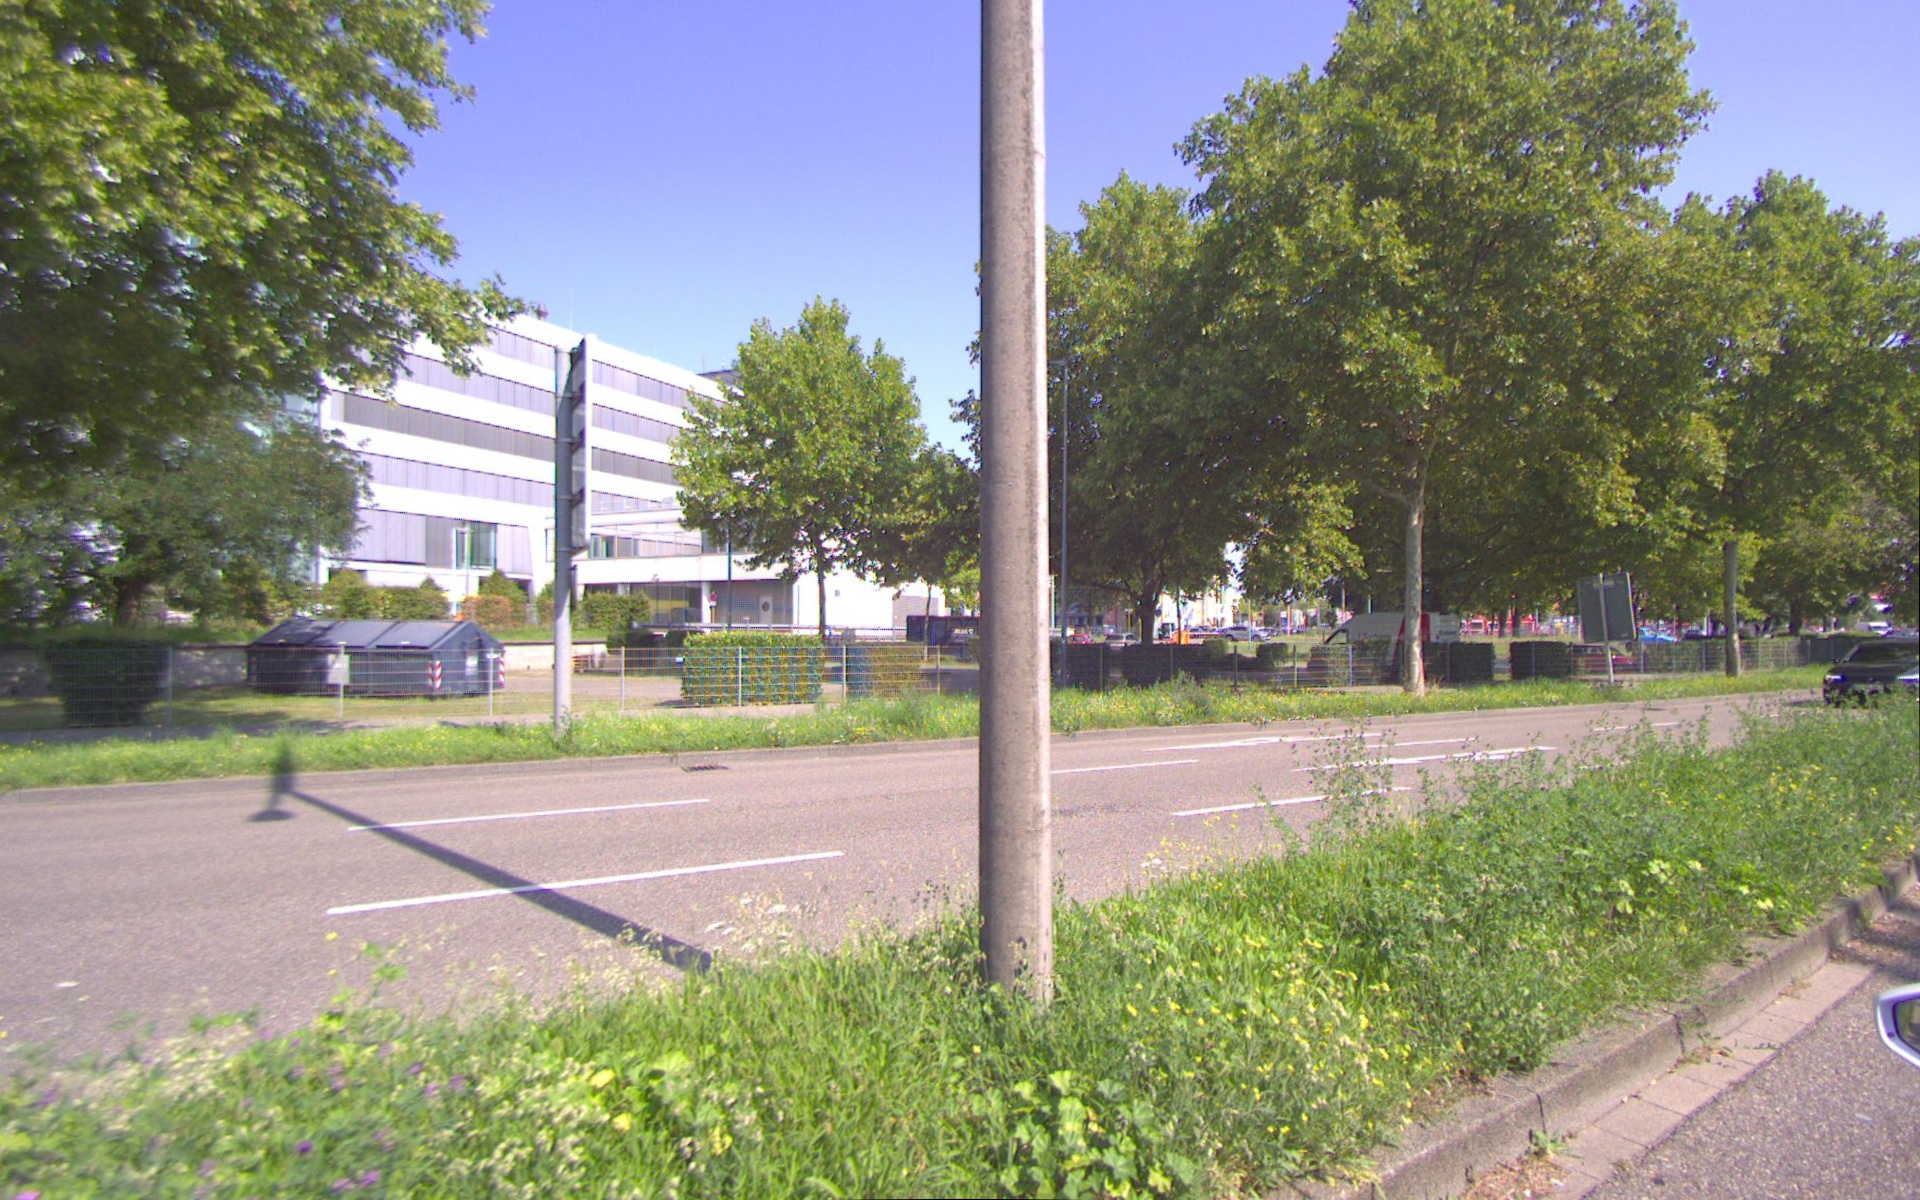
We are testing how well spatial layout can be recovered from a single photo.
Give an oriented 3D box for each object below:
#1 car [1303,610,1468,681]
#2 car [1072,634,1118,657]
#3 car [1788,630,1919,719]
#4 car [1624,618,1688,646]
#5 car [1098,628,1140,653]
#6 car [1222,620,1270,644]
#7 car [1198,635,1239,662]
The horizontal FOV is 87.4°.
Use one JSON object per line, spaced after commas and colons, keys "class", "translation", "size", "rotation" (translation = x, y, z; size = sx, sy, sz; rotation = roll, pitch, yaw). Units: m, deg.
{"class": "car", "translation": [16.151, 1.644, 38.470], "size": [2.252, 2.369, 5.556], "rotation": [-2, 1, -31]}
{"class": "car", "translation": [12.899, 4.318, 95.701], "size": [3.925, 2.041, 1.998], "rotation": [-1, 1, 25]}
{"class": "car", "translation": [20.555, 1.588, 22.435], "size": [3.953, 1.582, 1.984], "rotation": [-2, 1, -31]}
{"class": "car", "translation": [54.443, 2.479, 78.666], "size": [3.929, 2.041, 1.996], "rotation": [-1, 1, 30]}
{"class": "car", "translation": [11.045, 2.758, 69.555], "size": [1.896, 1.472, 3.996], "rotation": [-1, 1, 25]}
{"class": "car", "translation": [26.174, 2.886, 91.811], "size": [3.925, 2.041, 1.998], "rotation": [-1, 1, 25]}
{"class": "car", "translation": [16.879, 3.125, 65.369], "size": [1.896, 1.472, 3.996], "rotation": [-1, 1, 25]}
